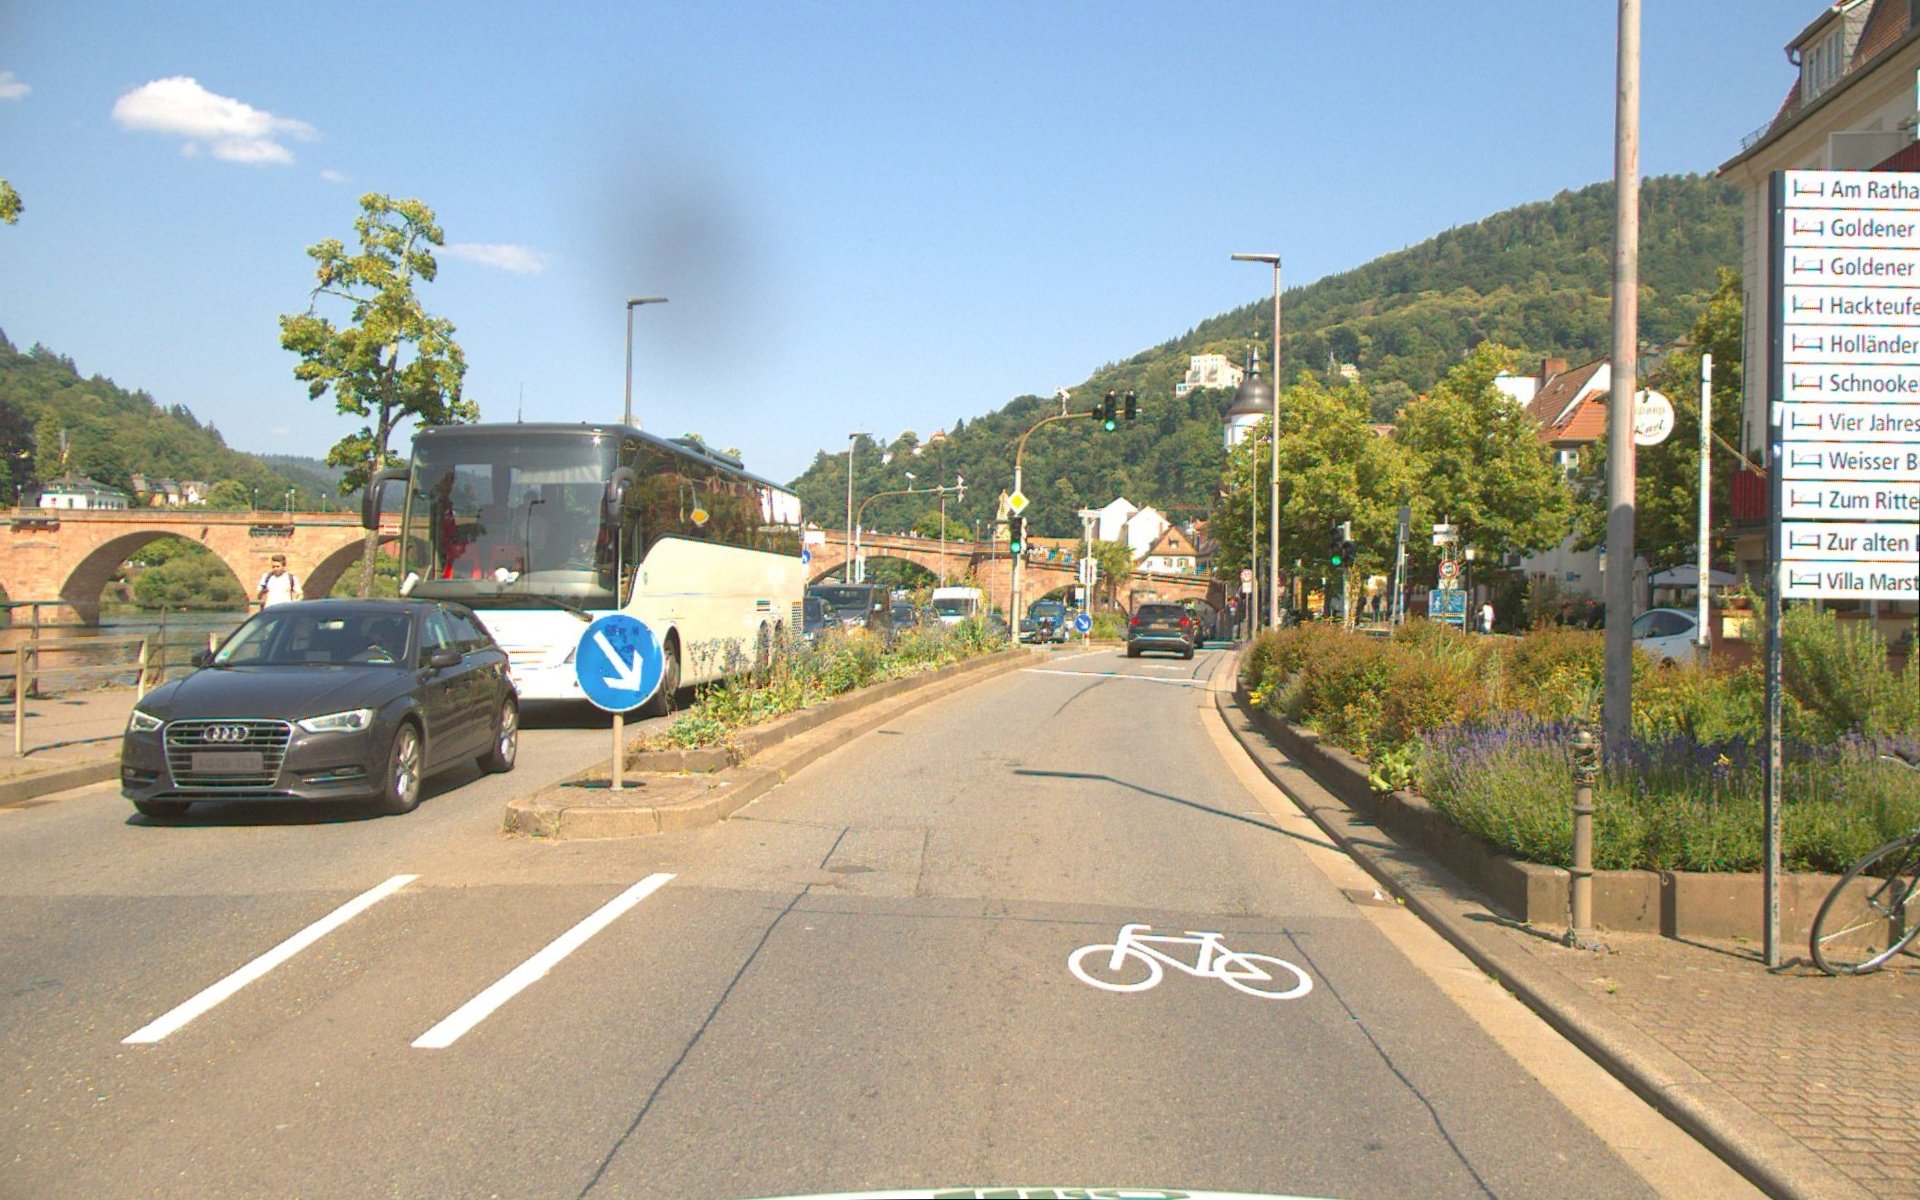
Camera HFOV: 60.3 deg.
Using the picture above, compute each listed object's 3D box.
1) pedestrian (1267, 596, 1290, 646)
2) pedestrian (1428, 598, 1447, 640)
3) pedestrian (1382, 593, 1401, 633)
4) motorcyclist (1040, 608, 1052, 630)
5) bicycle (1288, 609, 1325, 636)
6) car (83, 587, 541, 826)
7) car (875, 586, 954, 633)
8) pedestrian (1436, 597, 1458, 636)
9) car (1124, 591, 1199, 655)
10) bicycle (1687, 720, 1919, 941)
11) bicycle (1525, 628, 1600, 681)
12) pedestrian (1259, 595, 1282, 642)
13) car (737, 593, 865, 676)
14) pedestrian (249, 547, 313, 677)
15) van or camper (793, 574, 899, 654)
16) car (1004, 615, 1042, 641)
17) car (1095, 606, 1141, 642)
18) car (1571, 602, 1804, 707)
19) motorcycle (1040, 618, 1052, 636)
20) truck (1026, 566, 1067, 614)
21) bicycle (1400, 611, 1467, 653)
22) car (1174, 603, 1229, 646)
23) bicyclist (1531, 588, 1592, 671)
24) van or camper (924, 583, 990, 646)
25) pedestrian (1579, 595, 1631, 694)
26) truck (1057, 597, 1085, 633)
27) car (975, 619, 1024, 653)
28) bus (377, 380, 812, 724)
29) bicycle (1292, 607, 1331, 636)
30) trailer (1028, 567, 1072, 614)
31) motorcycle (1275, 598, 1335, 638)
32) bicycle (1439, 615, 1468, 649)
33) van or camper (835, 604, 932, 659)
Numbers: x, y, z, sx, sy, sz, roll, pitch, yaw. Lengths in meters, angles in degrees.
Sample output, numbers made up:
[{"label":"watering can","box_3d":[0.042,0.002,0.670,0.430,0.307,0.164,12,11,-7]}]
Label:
[{"label":"pedestrian","box_3d":[11.407,0.747,59.255,0.679,1.802,0.764,-1,0,0]},{"label":"pedestrian","box_3d":[17.861,0.700,61.845,0.449,1.543,0.690,2,0,0]},{"label":"pedestrian","box_3d":[18.466,0.562,70.733,0.692,1.682,0.707,1,0,8]},{"label":"motorcyclist","box_3d":[5.795,1.275,111.520,0.720,1.496,1.012,1,0,5]},{"label":"bicycle","box_3d":[14.143,0.923,67.561,1.453,1.065,0.251,0,-1,2]},{"label":"car","box_3d":[-4.480,0.638,12.192,1.780,1.454,4.192,0,0,-1]},{"label":"car","box_3d":[-1.466,0.320,54.893,1.910,1.433,4.573,-2,-1,7]},{"label":"pedestrian","box_3d":[18.107,0.621,61.510,0.613,1.406,0.542,3,0,0]},{"label":"car","box_3d":[5.613,0.593,46.004,1.886,1.580,4.835,3,1,7]},{"label":"bicycle","box_3d":[4.310,1.053,7.524,1.774,0.893,0.502,3,0,-4]},{"label":"bicycle","box_3d":[11.936,1.059,32.810,0.735,0.981,1.781,2,0,-4]},{"label":"pedestrian","box_3d":[11.254,0.661,59.947,0.679,1.707,0.764,-1,0,0]},{"label":"car","box_3d":[-3.387,0.715,36.234,1.952,1.626,5.159,-2,0,3]},{"label":"pedestrian","box_3d":[-9.690,0.165,23.618,0.607,1.811,0.662,1,0,0]},{"label":"van or camper","box_3d":[-2.830,0.350,42.308,1.951,1.906,5.182,0,0,5]},{"label":"car","box_3d":[3.819,1.717,100.096,1.910,1.437,4.221,-1,-2,7]},{"label":"car","box_3d":[7.560,1.131,78.858,1.951,1.580,4.836,1,0,8]},{"label":"car","box_3d":[12.311,0.864,28.362,1.839,1.605,4.726,1,0,-1]},{"label":"motorcycle","box_3d":[5.779,1.794,111.427,0.741,1.151,2.457,1,0,5]},{"label":"truck","box_3d":[6.493,-0.743,123.785,2.601,3.463,4.453,1,0,8]},{"label":"bicycle","box_3d":[15.167,1.030,52.998,1.957,1.219,0.522,3,1,20]},{"label":"car","box_3d":[9.106,0.884,62.113,1.885,1.486,4.836,1,0,10]},{"label":"bicyclist","box_3d":[11.942,0.577,32.864,0.751,1.611,1.088,1,0,-3]},{"label":"van or camper","box_3d":[-0.064,0.639,69.231,1.951,2.493,5.498,-1,-1,8]},{"label":"pedestrian","box_3d":[12.550,0.862,32.180,0.746,1.890,0.610,-1,0,0]},{"label":"truck","box_3d":[11.102,1.471,164.572,2.601,3.463,5.138,1,0,5]},{"label":"car","box_3d":[1.902,1.681,77.627,1.780,1.481,4.932,-1,0,7]},{"label":"bus","box_3d":[-4.473,-0.434,24.086,2.576,3.626,12.988,1,-1,4]},{"label":"bicycle","box_3d":[13.781,0.852,64.936,1.453,1.139,0.378,0,-1,2]},{"label":"trailer","box_3d":[6.963,-0.687,127.292,2.601,3.463,8.833,1,0,8]},{"label":"motorcycle","box_3d":[13.186,0.697,63.273,0.757,1.491,2.264,1,-2,-41]},{"label":"bicycle","box_3d":[16.255,1.065,54.478,0.582,1.086,2.063,0,-2,26]},{"label":"van or camper","box_3d":[-2.151,0.905,47.899,1.951,1.502,5.069,0,-1,7]}]
